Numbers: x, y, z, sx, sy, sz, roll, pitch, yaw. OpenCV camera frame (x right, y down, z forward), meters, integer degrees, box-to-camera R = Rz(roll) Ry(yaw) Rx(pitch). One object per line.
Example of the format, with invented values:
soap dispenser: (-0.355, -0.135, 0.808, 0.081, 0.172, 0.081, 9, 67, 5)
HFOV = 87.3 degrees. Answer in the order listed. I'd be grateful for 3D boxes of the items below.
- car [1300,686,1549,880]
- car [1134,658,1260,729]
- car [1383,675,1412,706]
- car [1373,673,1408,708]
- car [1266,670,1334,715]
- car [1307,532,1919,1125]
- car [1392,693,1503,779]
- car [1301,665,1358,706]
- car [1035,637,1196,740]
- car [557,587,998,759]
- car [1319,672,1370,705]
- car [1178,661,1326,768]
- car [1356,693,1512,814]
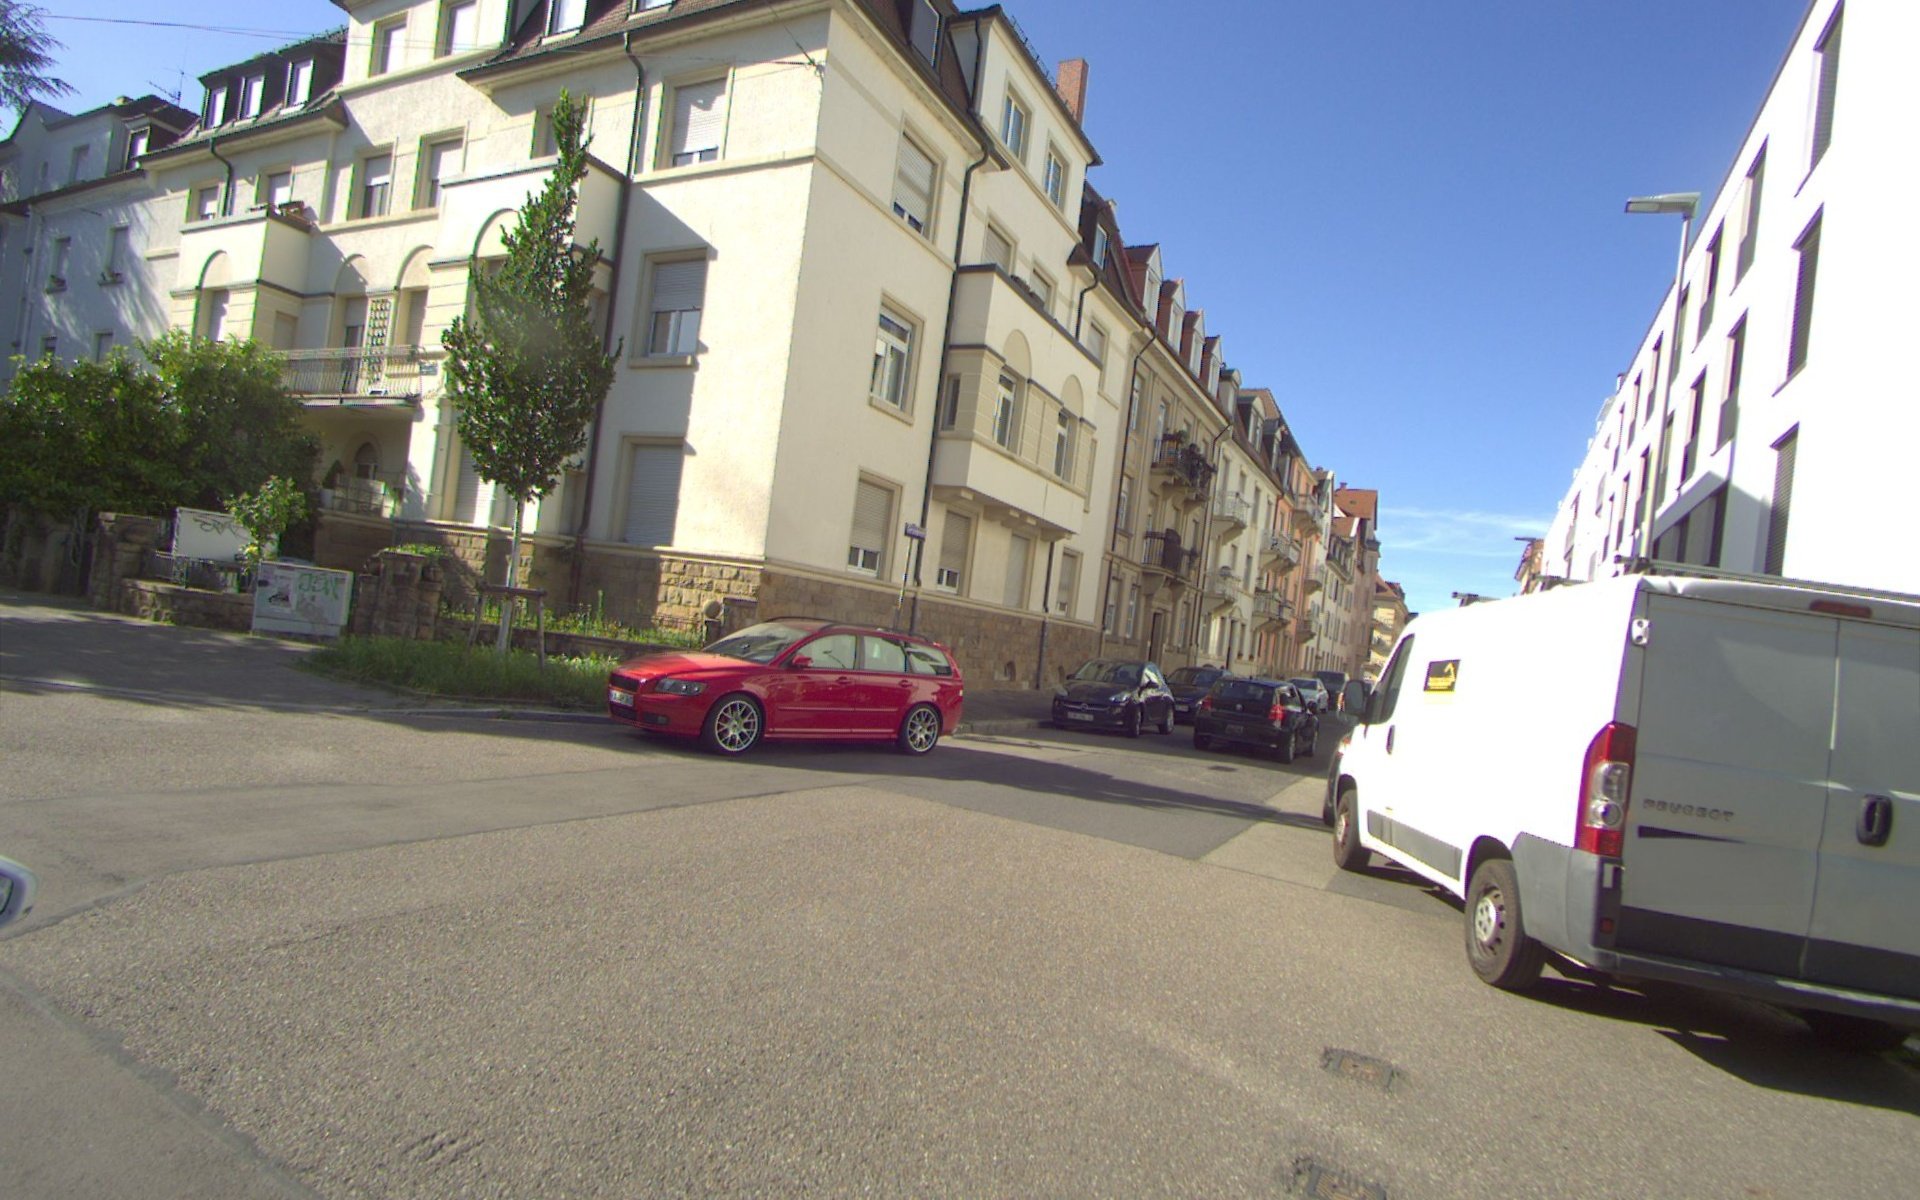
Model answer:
car: (5.495, 1.908, 11.802, 2.012, 1.487, 4.940, 7, -1, 27)
car: (6.382, 2.513, 26.640, 1.796, 1.486, 4.940, 6, -2, 30)
car: (48.878, 10.155, 112.396, 2.529, 3.001, 6.220, 6, -2, 24)
car: (41.919, 8.835, 97.861, 2.531, 3.001, 6.217, 6, -3, 27)
car: (14.320, 3.915, 42.237, 1.965, 1.569, 4.433, 6, -3, 27)
car: (4.187, 1.108, 6.736, 2.192, 2.333, 5.061, 7, -1, 6)
car: (11.197, 3.076, 23.137, 1.931, 1.486, 4.945, 7, -3, 27)
car: (19.180, 4.463, 52.105, 2.059, 1.752, 4.814, 6, -3, 27)
car: (3.255, 1.776, 20.301, 1.802, 1.660, 4.181, 7, -2, 28)
car: (-1.882, 0.924, 11.659, 1.928, 1.486, 4.710, 5, -3, 43)
car: (21.838, 5.034, 57.045, 1.966, 1.492, 3.997, 6, -3, 30)
car: (5.500, 2.038, 18.621, 1.757, 1.542, 3.996, 7, -1, 27)
car: (8.210, 2.493, 17.233, 1.927, 1.445, 4.940, 9, -1, 28)
